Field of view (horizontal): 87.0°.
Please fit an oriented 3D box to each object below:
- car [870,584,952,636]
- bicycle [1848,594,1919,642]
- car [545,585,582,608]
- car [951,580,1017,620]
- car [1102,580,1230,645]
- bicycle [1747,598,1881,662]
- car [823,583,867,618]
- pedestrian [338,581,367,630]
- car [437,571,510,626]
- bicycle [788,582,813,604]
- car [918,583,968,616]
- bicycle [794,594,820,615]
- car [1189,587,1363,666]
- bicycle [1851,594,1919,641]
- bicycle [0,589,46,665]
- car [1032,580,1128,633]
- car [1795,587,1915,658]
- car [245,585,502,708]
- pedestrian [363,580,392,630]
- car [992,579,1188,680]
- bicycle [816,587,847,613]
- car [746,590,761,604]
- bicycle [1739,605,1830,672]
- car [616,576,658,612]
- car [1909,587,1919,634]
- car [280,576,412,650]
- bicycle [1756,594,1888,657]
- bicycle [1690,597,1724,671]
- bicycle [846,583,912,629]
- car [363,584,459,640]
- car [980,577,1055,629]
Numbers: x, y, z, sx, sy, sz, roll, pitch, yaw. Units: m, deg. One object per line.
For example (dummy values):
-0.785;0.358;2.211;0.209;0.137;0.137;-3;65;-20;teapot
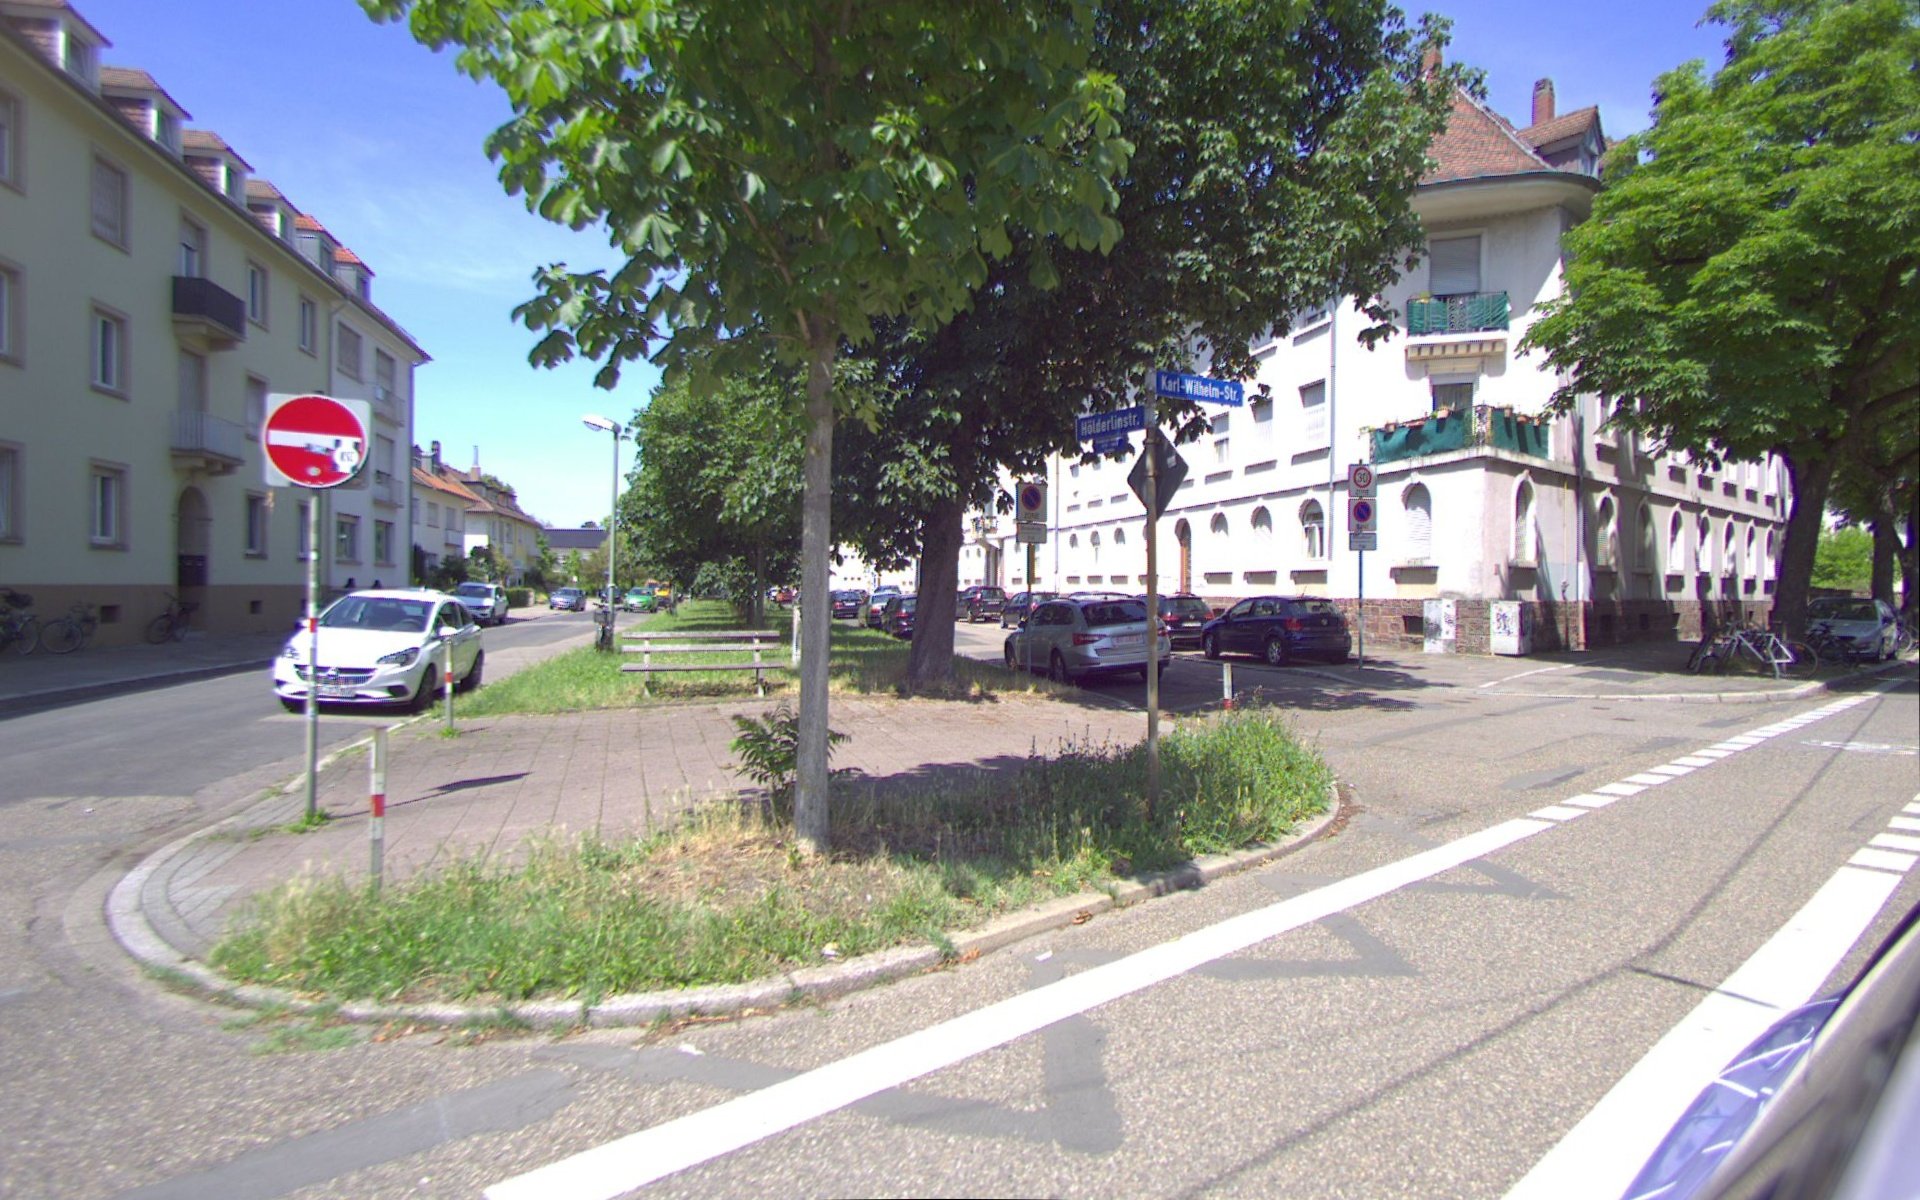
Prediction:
-1.695;0.277;33.546;1.958;1.601;4.008;-1;1;-14;car
24.172;0.447;26.289;0.299;1.215;1.623;-1;1;-38;bicycle
-25.552;-0.230;65.308;1.750;1.416;3.906;1;0;-15;car
1.018;-0.029;45.601;1.796;1.678;4.009;-1;1;-16;car
5.411;0.279;27.167;1.783;1.521;4.008;-3;2;-13;car
17.295;0.579;20.549;0.436;1.215;2.043;-1;1;-30;bicycle
-5.935;0.008;51.976;1.728;1.702;3.905;-1;1;-14;car
-20.522;0.182;34.183;0.655;1.637;0.802;1;0;-18;pedestrian
-19.265;-0.084;40.233;1.605;2.039;4.339;0;1;-12;car
-12.159;-0.567;77.068;1.747;1.610;4.007;-1;1;-11;bicycle
-0.899;-0.065;52.058;1.552;1.578;4.009;-1;1;-16;car
-10.405;0.314;68.730;1.584;1.323;3.426;-1;1;-11;bicycle
6.687;0.484;21.849;1.611;1.465;3.892;-1;2;-18;car
24.441;0.445;26.509;0.299;1.215;1.623;-1;1;-38;bicycle
-16.668;0.464;17.185;0.657;1.279;2.732;1;0;-19;bicycle
3.829;0.168;33.025;1.830;1.599;4.008;-1;1;-13;car
20.852;0.469;23.544;3.568;1.470;1.595;0;2;-40;car
-7.812;0.511;13.947;1.815;1.437;4.007;0;1;-10;car
-19.932;0.168;34.648;0.655;1.685;0.802;-1;1;-18;pedestrian
2.112;0.466;17.950;1.837;1.535;4.685;0;-1;-14;car
-7.302;-0.020;57.239;1.542;1.410;3.751;0;1;-10;bicycle
-23.416;-0.328;114.926;1.556;1.503;3.539;-1;1;-9;car
14.048;0.644;17.264;0.274;1.076;1.170;-1;1;-37;bicycle
-19.162;-0.360;60.142;1.958;2.039;4.008;-1;1;-12;car
34.434;0.342;35.291;3.930;1.563;1.538;-1;1;-41;car
-15.608;0.275;25.952;1.958;1.730;4.009;0;1;-17;car
17.703;0.497;20.836;0.436;1.215;2.043;-1;1;-30;bicycle
13.346;0.583;18.106;0.281;1.215;1.612;-1;1;29;bicycle
-3.215;0.190;39.438;1.800;1.666;4.009;-1;1;-16;bicycle
-17.220;0.330;31.934;1.552;1.622;4.008;-1;1;-12;car
2.078;0.073;37.624;1.618;1.751;4.008;-2;1;-13;car
